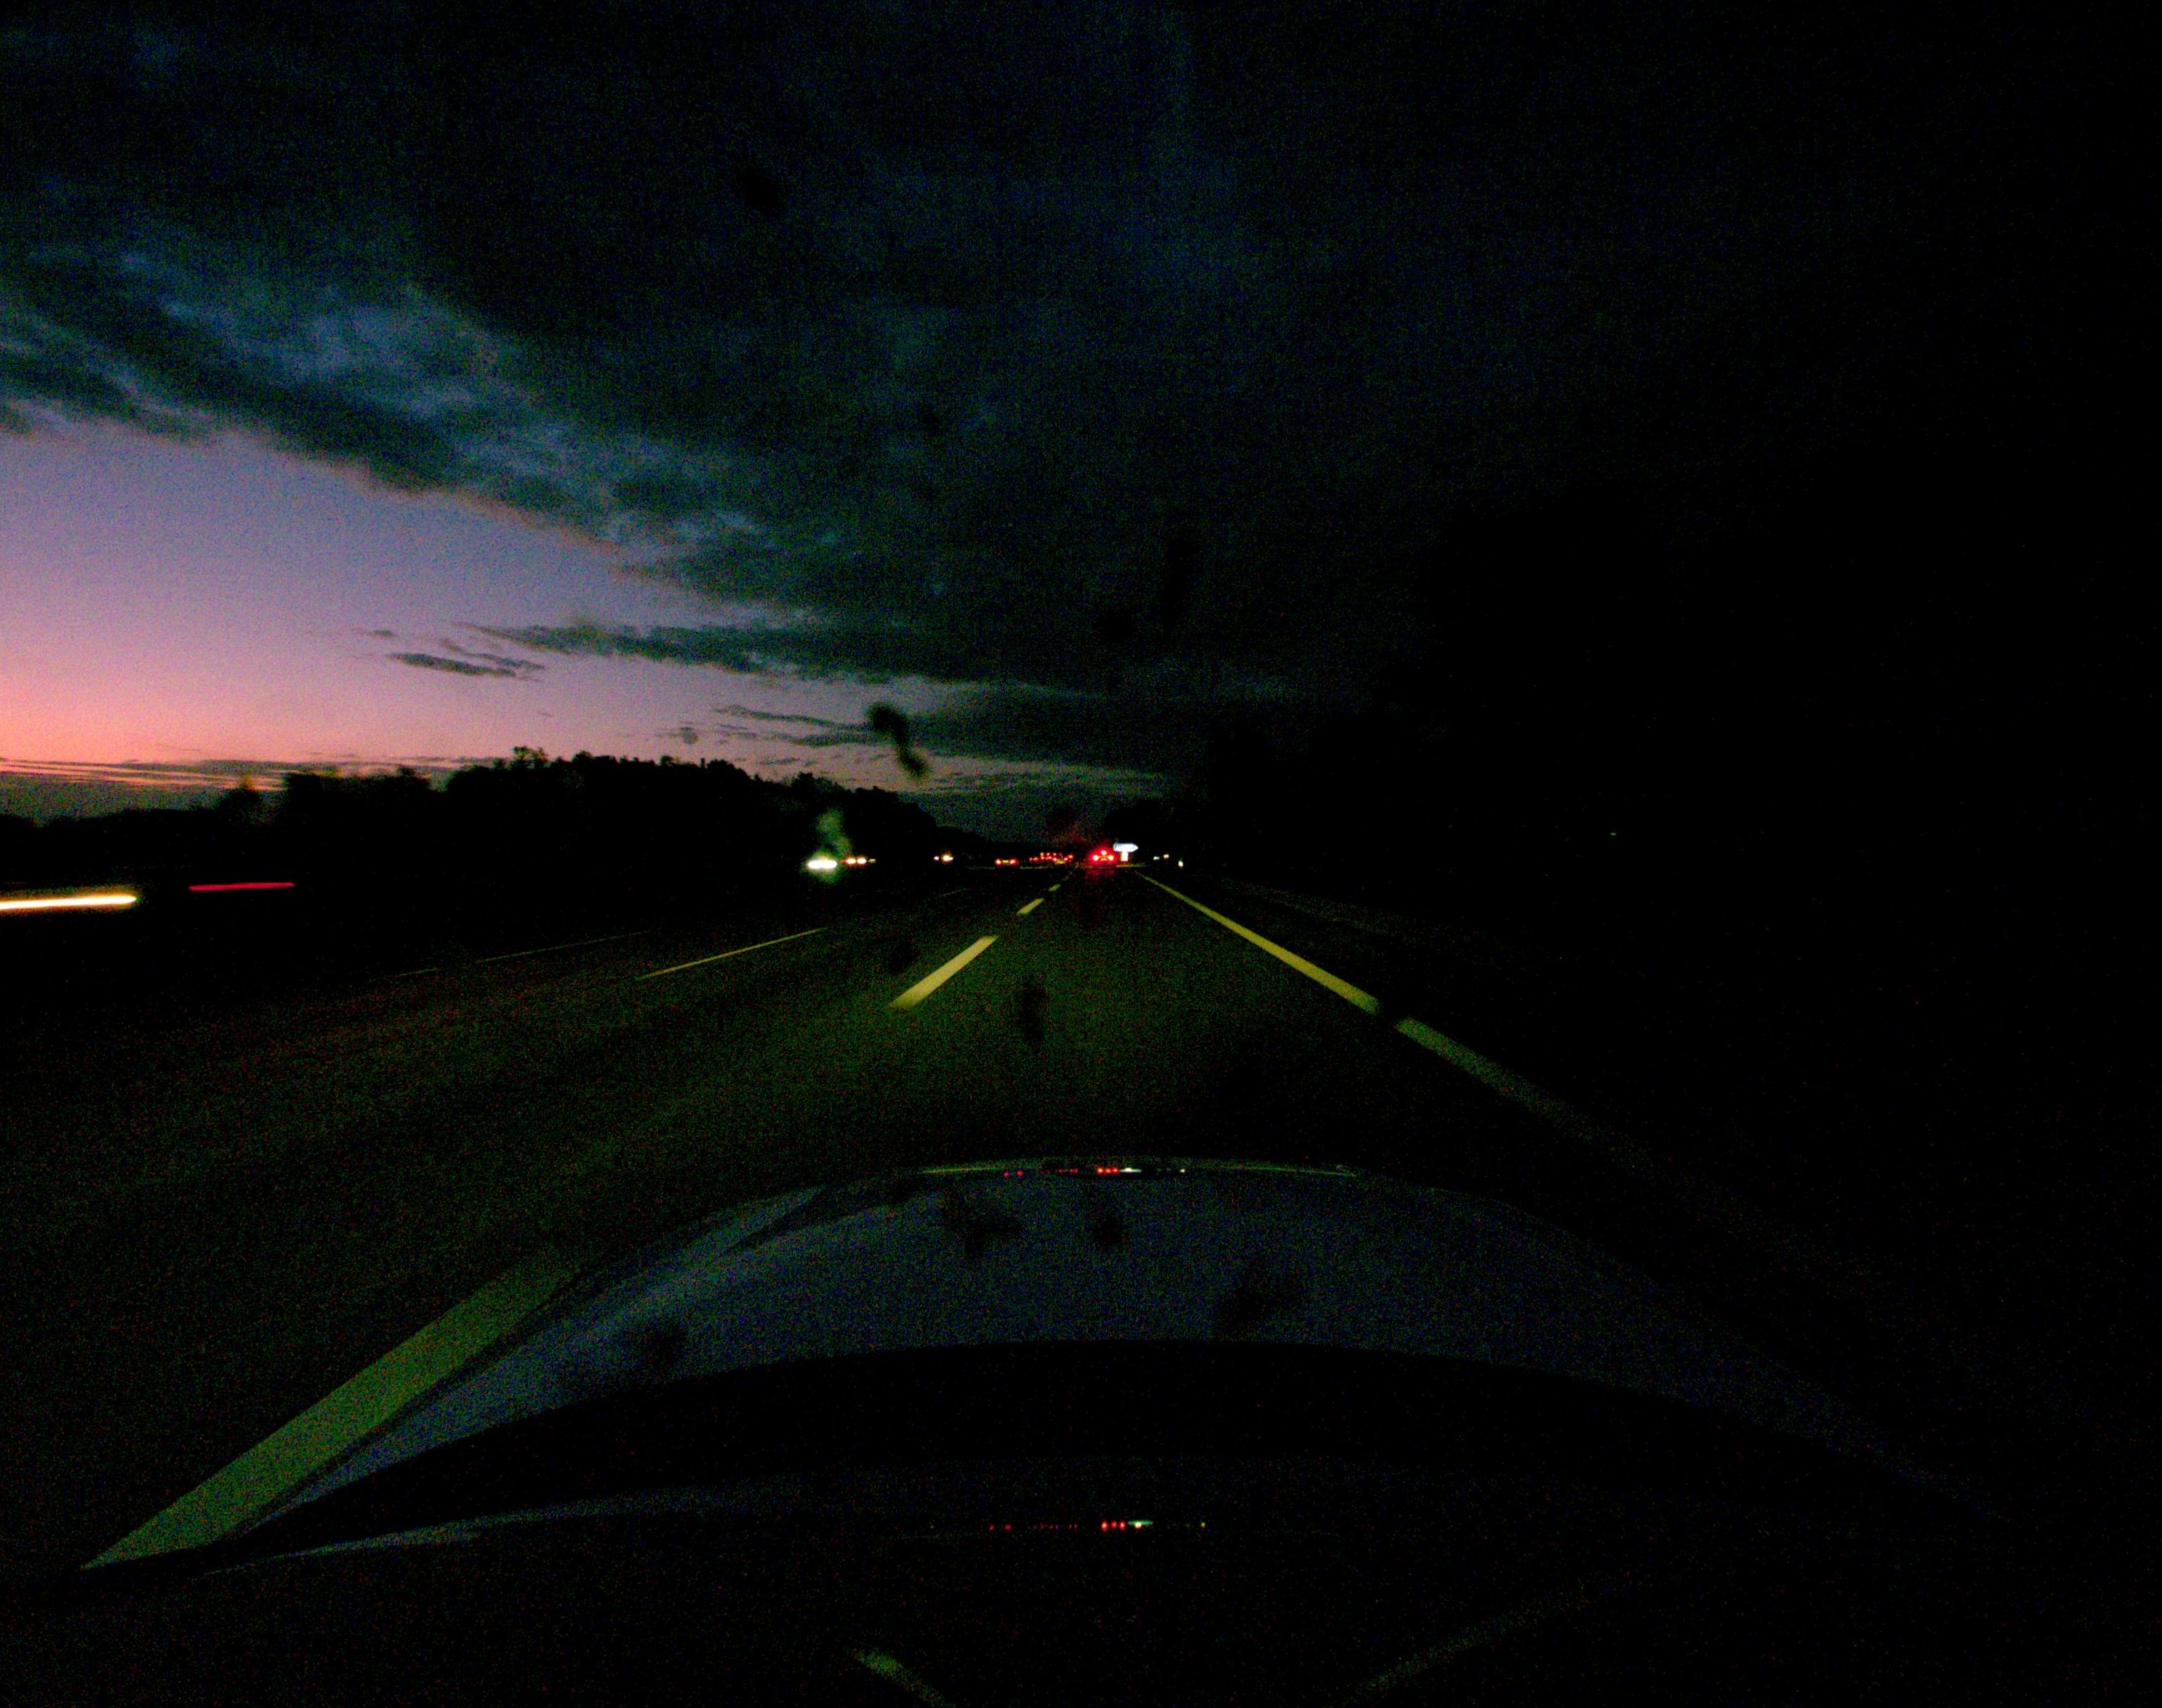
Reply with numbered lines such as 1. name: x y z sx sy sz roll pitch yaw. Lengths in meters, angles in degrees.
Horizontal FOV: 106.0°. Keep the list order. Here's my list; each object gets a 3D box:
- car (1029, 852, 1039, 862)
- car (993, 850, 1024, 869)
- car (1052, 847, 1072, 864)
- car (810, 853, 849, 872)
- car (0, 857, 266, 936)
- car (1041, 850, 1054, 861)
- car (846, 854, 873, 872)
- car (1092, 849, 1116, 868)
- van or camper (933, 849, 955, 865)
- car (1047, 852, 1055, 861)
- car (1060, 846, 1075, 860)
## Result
1. car: -10.426 0.632 180.669 2.098 2.013 3.998 -2 0 -1
2. car: -6.671 0.479 75.083 1.984 1.642 4.562 -1 0 5
3. car: -2.206 0.173 95.549 1.986 2.013 4.002 -1 0 2
4. car: -21.859 0.692 70.875 1.986 1.546 4.001 -1 0 1
5. car: -22.855 0.910 19.477 1.985 1.610 4.562 -1 0 3
6. car: -6.251 0.331 153.981 2.062 2.013 4.003 -1 0 3
7. car: -25.823 1.033 95.043 2.021 2.013 4.237 -1 0 -1
8. car: 2.105 0.379 72.422 1.985 1.659 4.318 -1 0 3
9. van or camper: -22.481 0.465 133.685 2.508 2.595 6.488 -1 0 0
10. car: -7.302 0.609 198.106 1.989 2.013 3.995 -1 0 -3
11. car: -2.052 -0.128 125.643 1.985 2.013 4.003 -1 0 3
